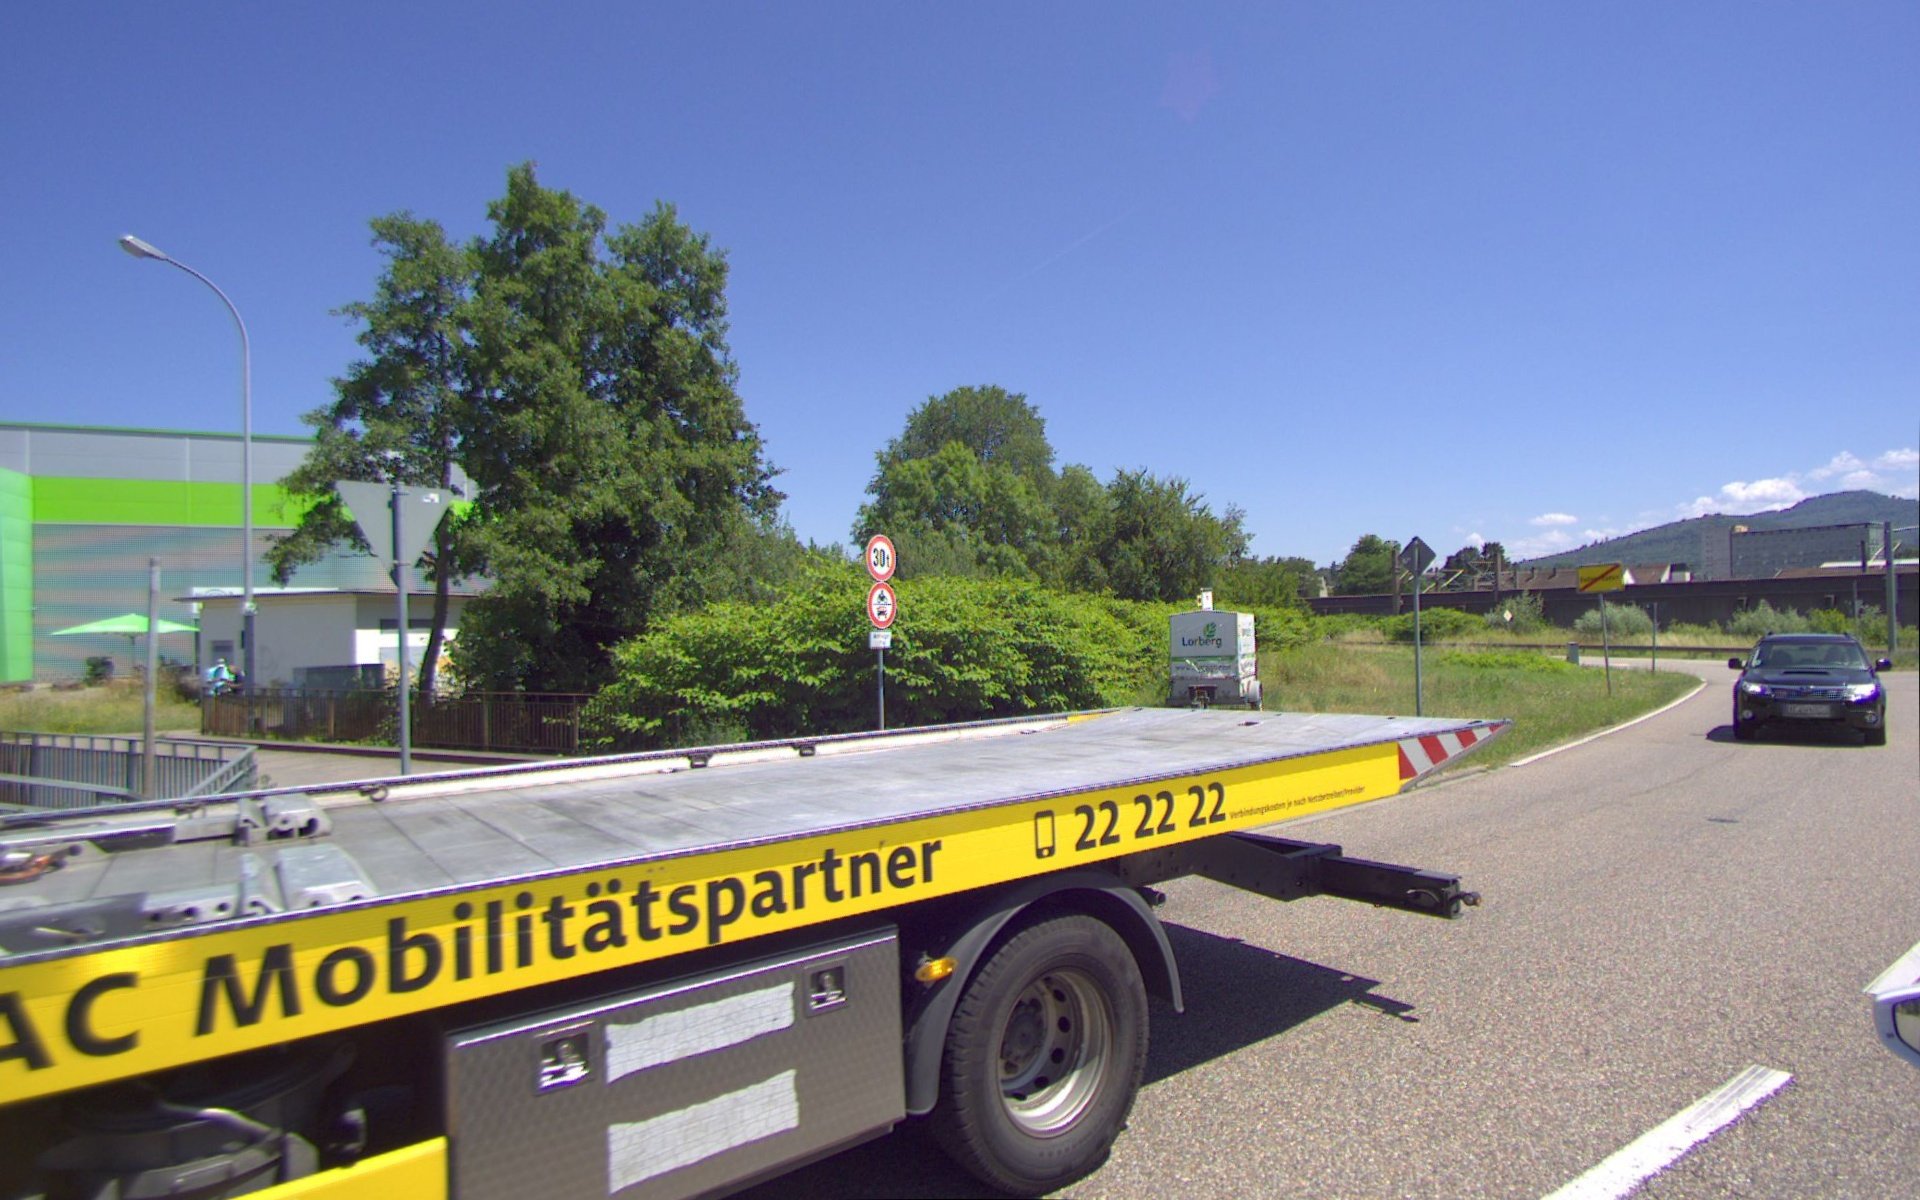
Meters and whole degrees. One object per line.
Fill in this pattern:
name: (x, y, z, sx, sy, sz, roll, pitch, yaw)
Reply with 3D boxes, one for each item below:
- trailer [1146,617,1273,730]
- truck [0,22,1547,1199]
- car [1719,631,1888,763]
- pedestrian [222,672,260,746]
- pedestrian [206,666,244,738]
trailer: (5.128, 1.380, 20.276, 1.821, 2.040, 3.958, 0, -1, 24)
truck: (-1.796, 0.445, 2.442, 8.969, 2.367, 2.295, 2, -4, -38)
car: (13.456, 1.418, 16.125, 1.879, 1.725, 3.981, 0, 0, 40)
pedestrian: (-17.439, 2.635, 24.372, 0.619, 1.696, 0.595, 1, 0, 41)
pedestrian: (-18.009, 2.479, 24.604, 0.507, 1.696, 0.626, 1, 0, 40)
